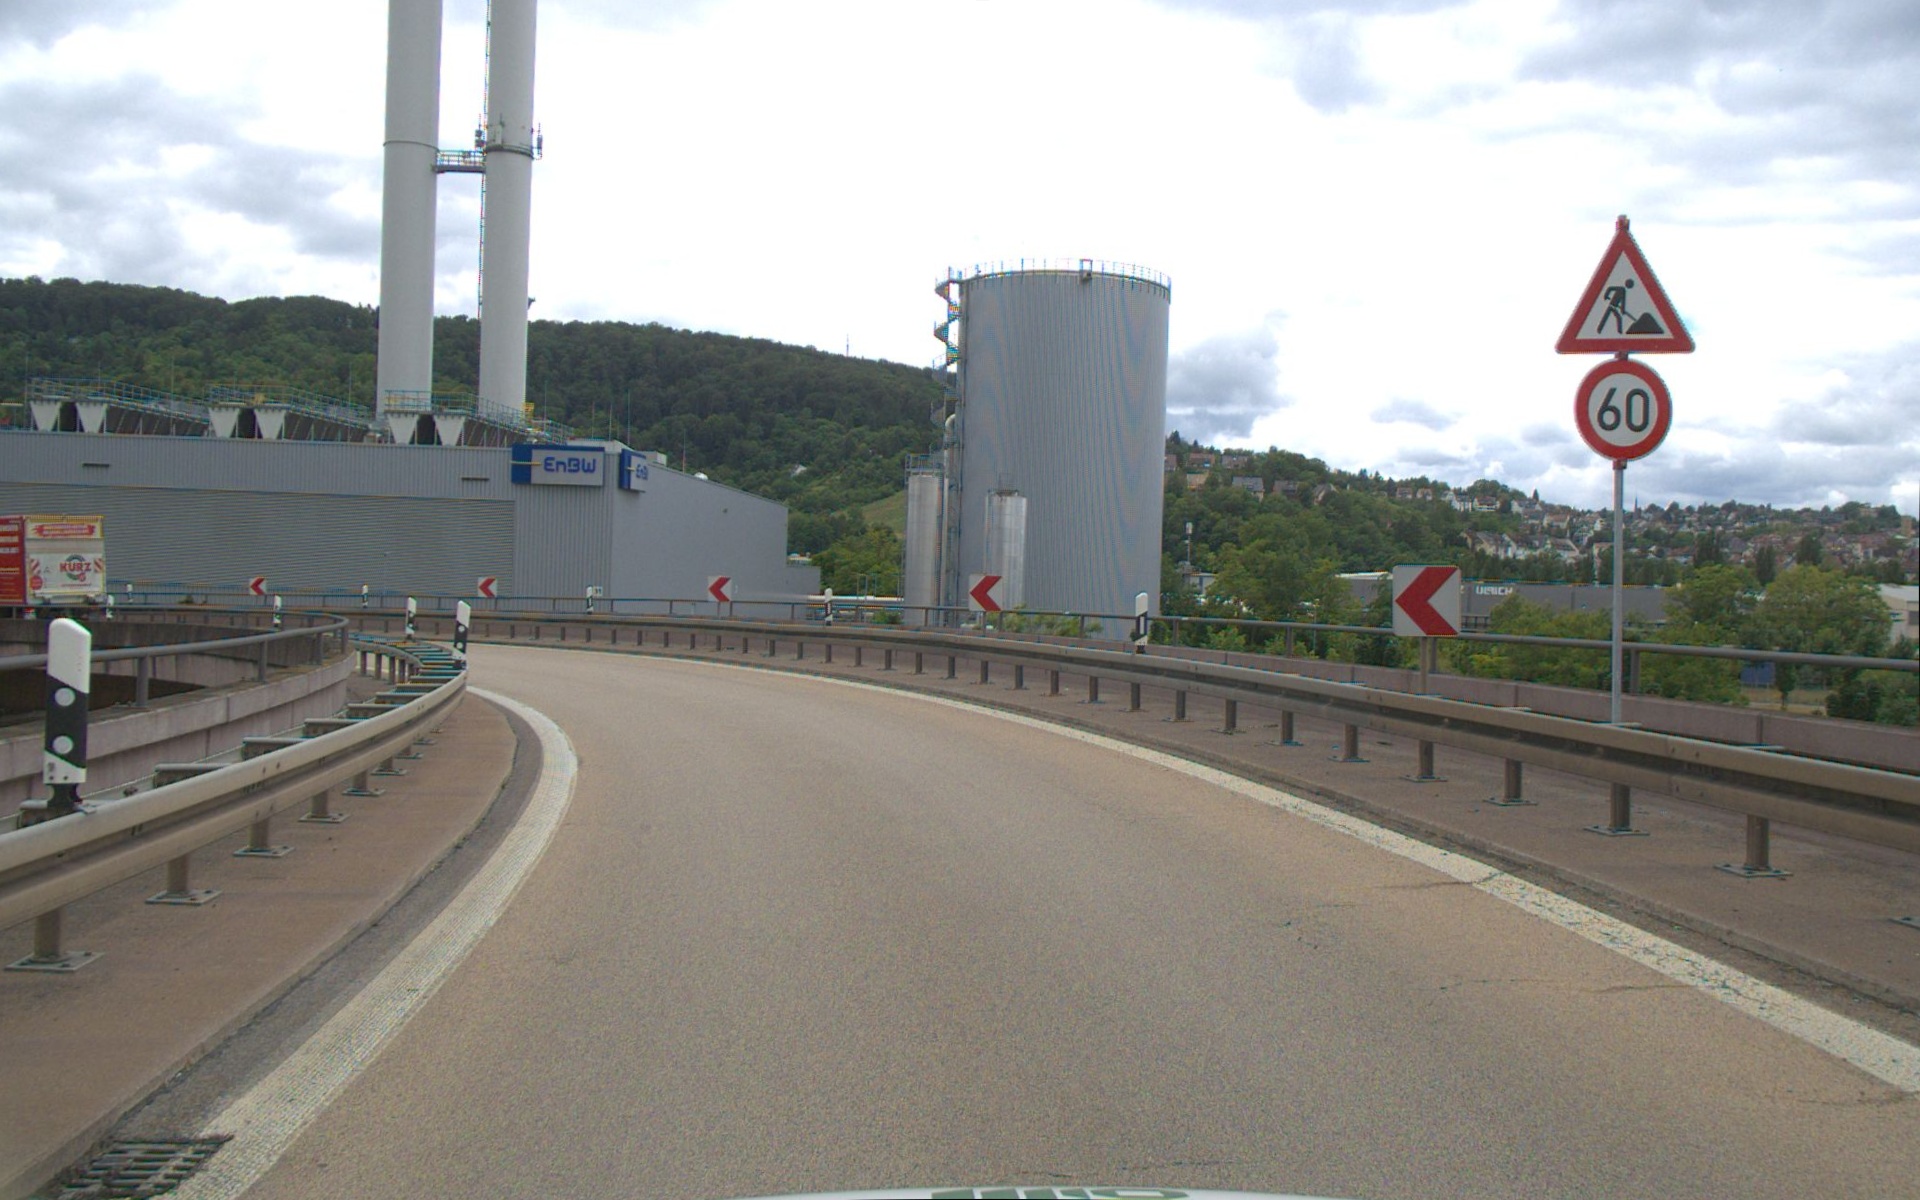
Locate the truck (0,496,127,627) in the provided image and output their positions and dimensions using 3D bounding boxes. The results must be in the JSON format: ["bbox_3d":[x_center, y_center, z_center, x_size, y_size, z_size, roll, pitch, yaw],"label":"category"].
[{"bbox_3d":[-29.255,-1.141,50.166,7.746,3.737,3.058,1,0,26],"label":"truck"}]
